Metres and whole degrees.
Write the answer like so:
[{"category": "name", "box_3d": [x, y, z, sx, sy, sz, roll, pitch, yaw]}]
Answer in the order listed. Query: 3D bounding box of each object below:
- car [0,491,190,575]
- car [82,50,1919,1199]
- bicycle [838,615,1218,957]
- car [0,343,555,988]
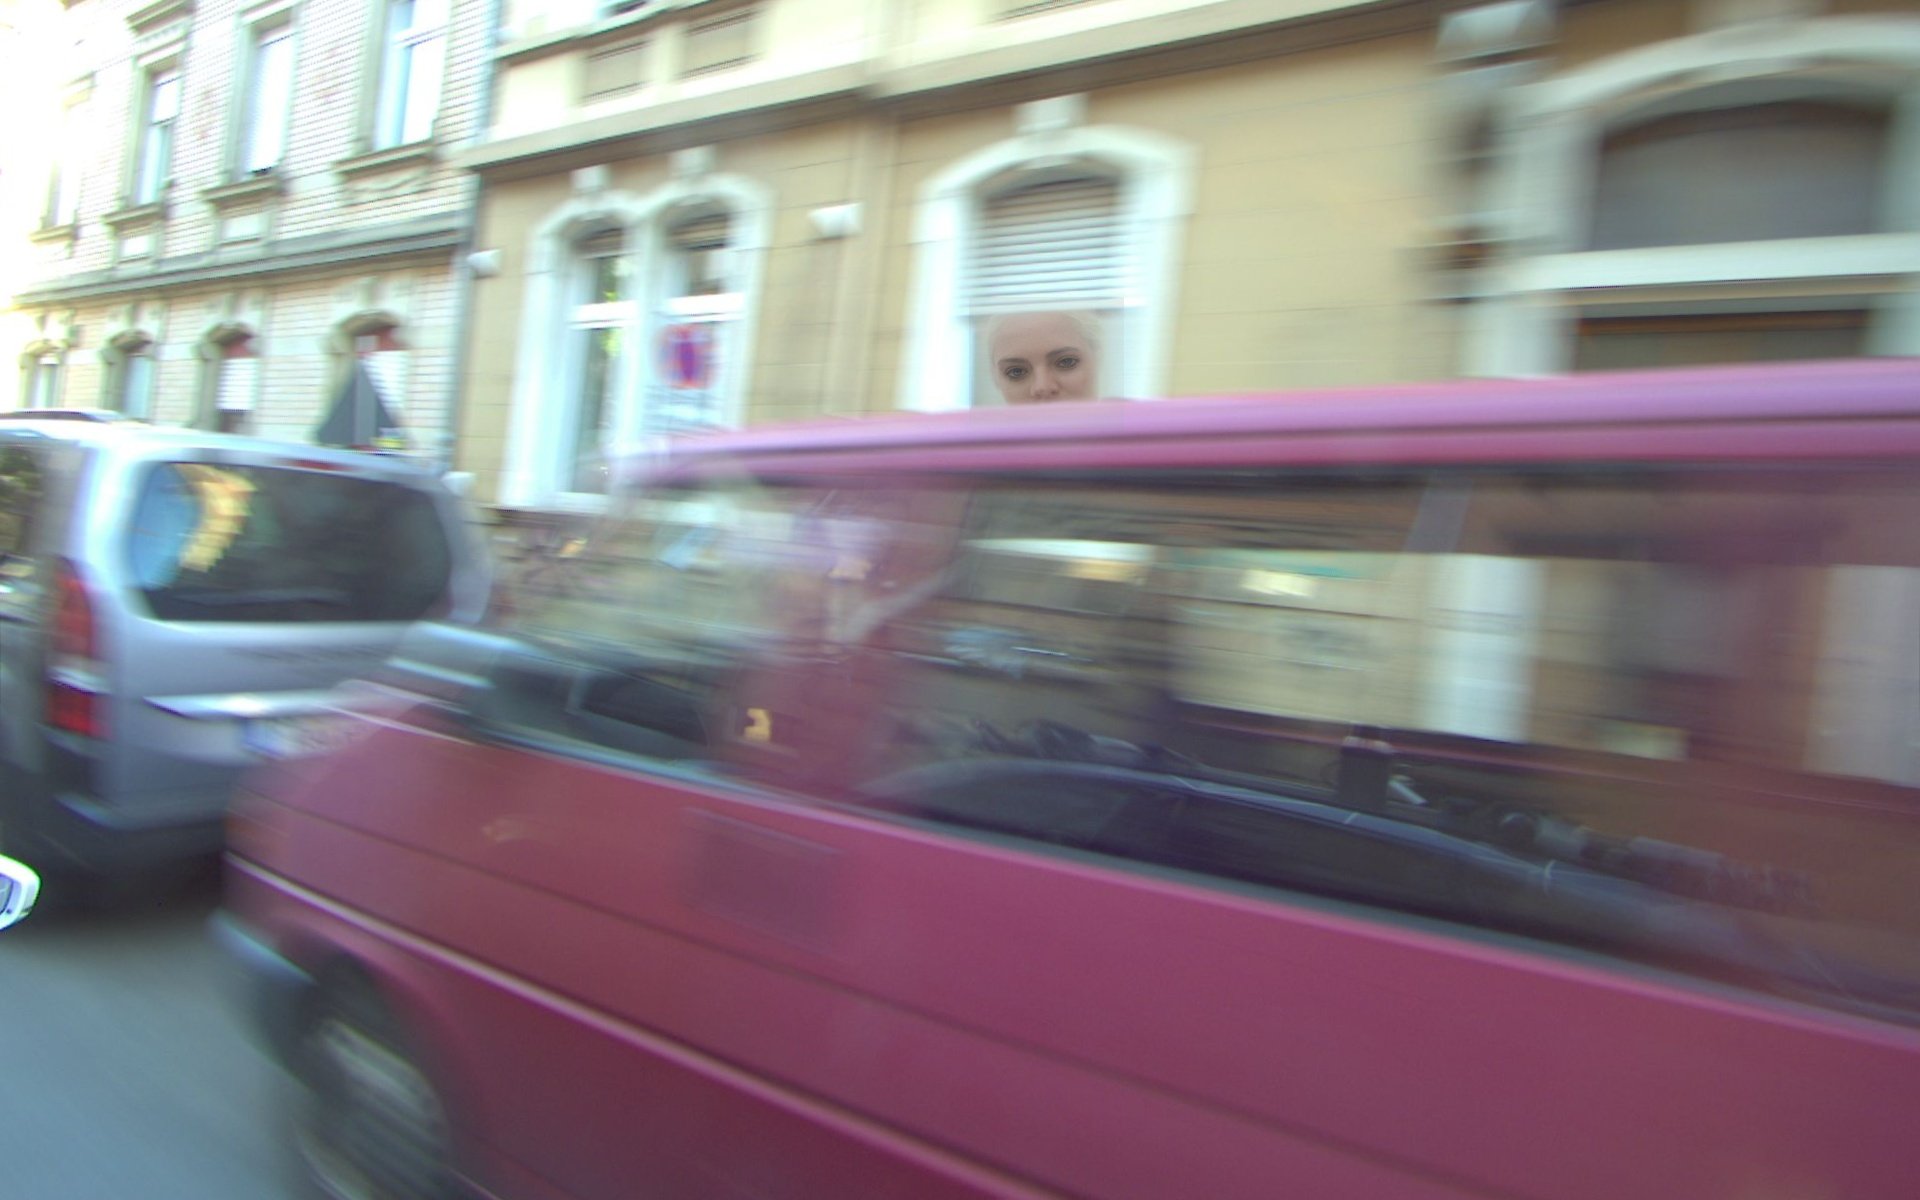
[{"category": "car", "box_3d": [-21.343, -1.634, 24.245, 1.704, 1.469, 3.986, 8, -1, 32]}, {"category": "car", "box_3d": [0.335, 0.541, 2.142, 4.663, 2.036, 1.836, 7, -2, 31]}, {"category": "bicycle", "box_3d": [0.312, 0.826, 5.093, 1.664, 1.321, 0.727, 7, 3, 32]}, {"category": "car", "box_3d": [-4.193, 0.091, 4.900, 4.193, 1.983, 1.773, 7, -2, 31]}]
